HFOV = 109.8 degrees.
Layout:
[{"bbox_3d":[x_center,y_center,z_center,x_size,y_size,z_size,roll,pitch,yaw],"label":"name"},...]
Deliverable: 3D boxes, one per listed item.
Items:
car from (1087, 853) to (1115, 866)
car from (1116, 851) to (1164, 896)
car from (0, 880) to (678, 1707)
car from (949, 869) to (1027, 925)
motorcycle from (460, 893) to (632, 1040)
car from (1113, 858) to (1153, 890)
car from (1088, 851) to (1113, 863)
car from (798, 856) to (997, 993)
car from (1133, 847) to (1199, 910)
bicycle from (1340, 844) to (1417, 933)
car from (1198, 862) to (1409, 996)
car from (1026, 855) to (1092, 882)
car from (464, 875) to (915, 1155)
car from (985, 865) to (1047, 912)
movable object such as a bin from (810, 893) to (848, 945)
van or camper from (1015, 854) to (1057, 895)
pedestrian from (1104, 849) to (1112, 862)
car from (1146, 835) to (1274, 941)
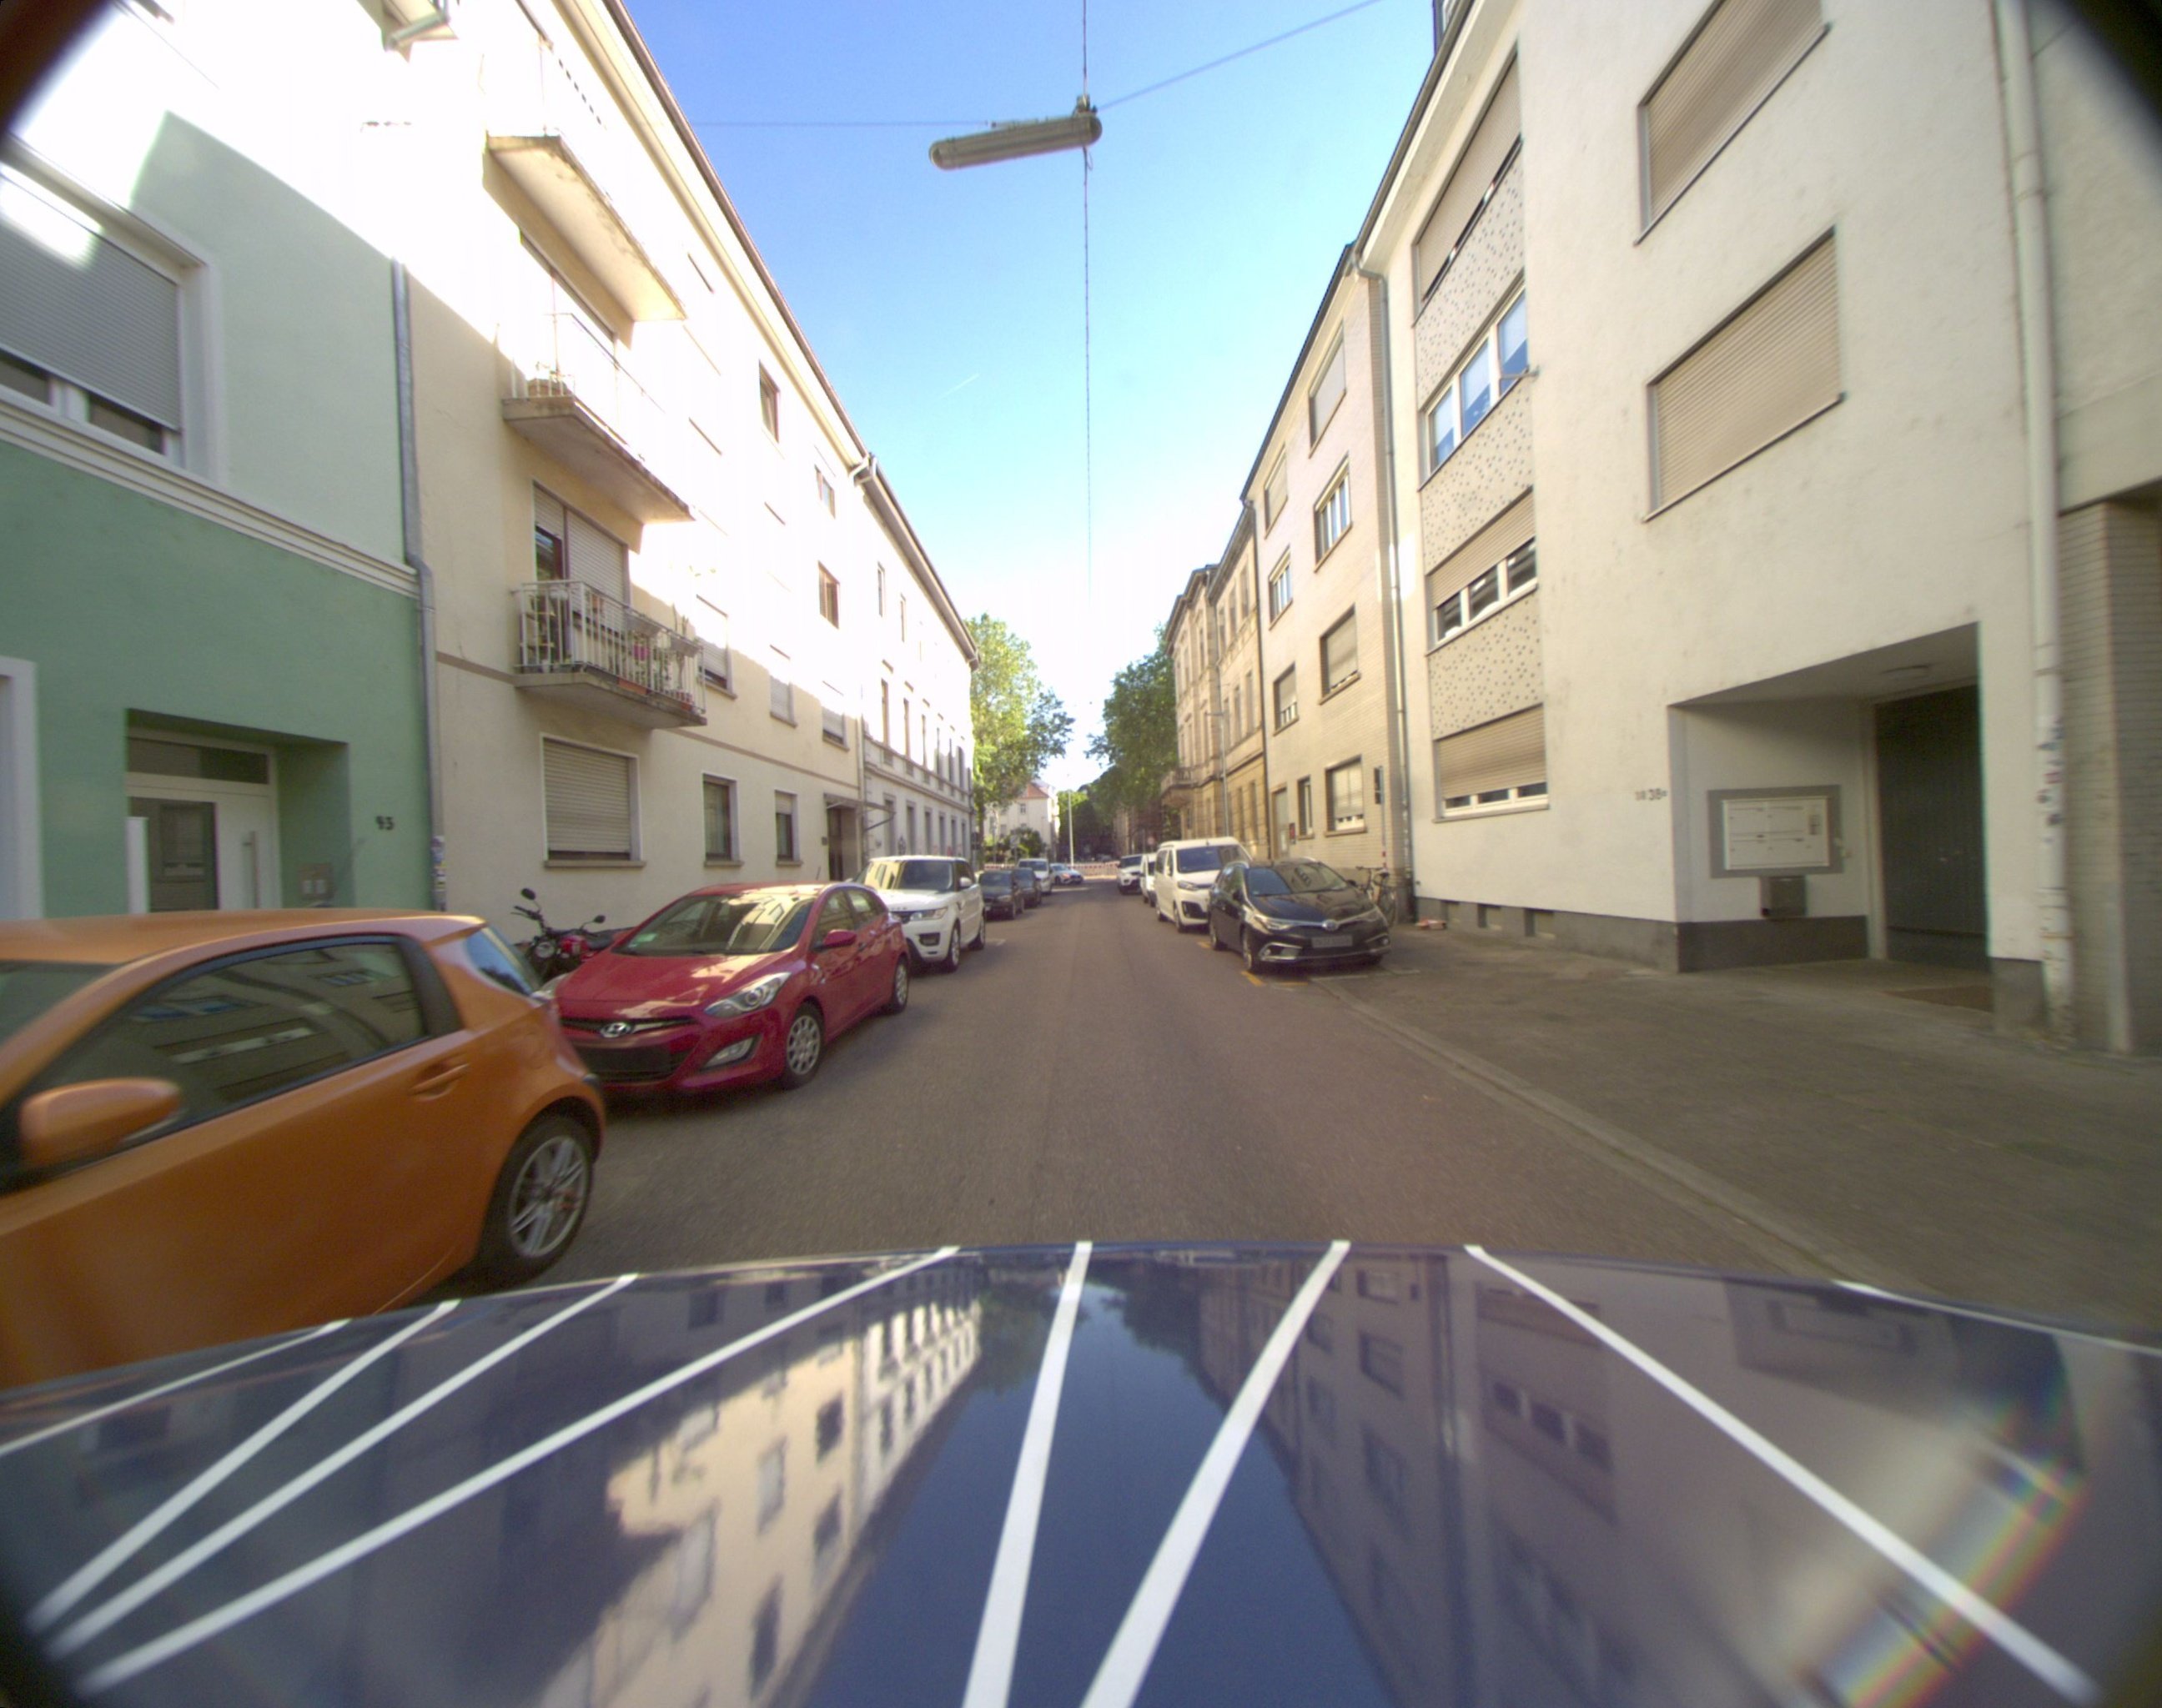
[{"bbox_3d":[2.822,0.821,106.967,3.800,1.726,1.623,-2,0,0],"label":"car"},{"bbox_3d":[2.802,0.894,37.117,2.027,2.002,4.543,-2,0,1],"label":"car"},{"bbox_3d":[-2.916,0.985,2.127,1.584,1.622,3.681,-4,0,-2],"label":"car"},{"bbox_3d":[-2.756,1.247,23.251,1.751,1.440,3.870,-4,-1,1],"label":"car"},{"bbox_3d":[-5.364,1.073,7.737,0.658,1.271,1.503,0,0,1],"label":"motorcycle"},{"bbox_3d":[2.956,1.124,43.758,1.872,1.552,3.941,-4,1,-1],"label":"car"},{"bbox_3d":[2.970,0.508,116.973,3.800,1.726,1.623,-2,0,0],"label":"car"},{"bbox_3d":[-2.753,0.980,12.735,2.010,1.773,4.939,-2,-1,1],"label":"car"},{"bbox_3d":[2.881,0.814,26.556,1.749,1.865,4.090,-6,-1,1],"label":"car"},{"bbox_3d":[5.439,0.600,14.004,0.558,1.500,1.800,-4,0,-3],"label":"bicycle"},{"bbox_3d":[2.921,0.898,11.008,1.711,1.442,4.301,-3,0,0],"label":"car"},{"bbox_3d":[-1.577,1.030,52.684,2.016,1.693,4.491,-2,-1,-44],"label":"car"},{"bbox_3d":[-2.799,1.027,6.598,1.746,1.559,4.032,-2,-1,1],"label":"car"},{"bbox_3d":[-2.386,1.237,28.997,1.819,1.510,4.728,-4,-1,1],"label":"car"},{"bbox_3d":[-5.412,1.381,16.331,0.578,1.064,0.553,-1,0,4],"label":"movable object such as a bin"},{"bbox_3d":[-2.321,1.054,40.450,1.899,2.001,5.031,-2,-1,-1],"label":"van or camper"},{"bbox_3d":[3.639,0.178,101.964,0.761,1.651,0.826,-2,0,-27],"label":"pedestrian"},{"bbox_3d":[2.752,0.700,17.403,1.899,1.946,4.781,-4,-1,-1],"label":"car"}]
